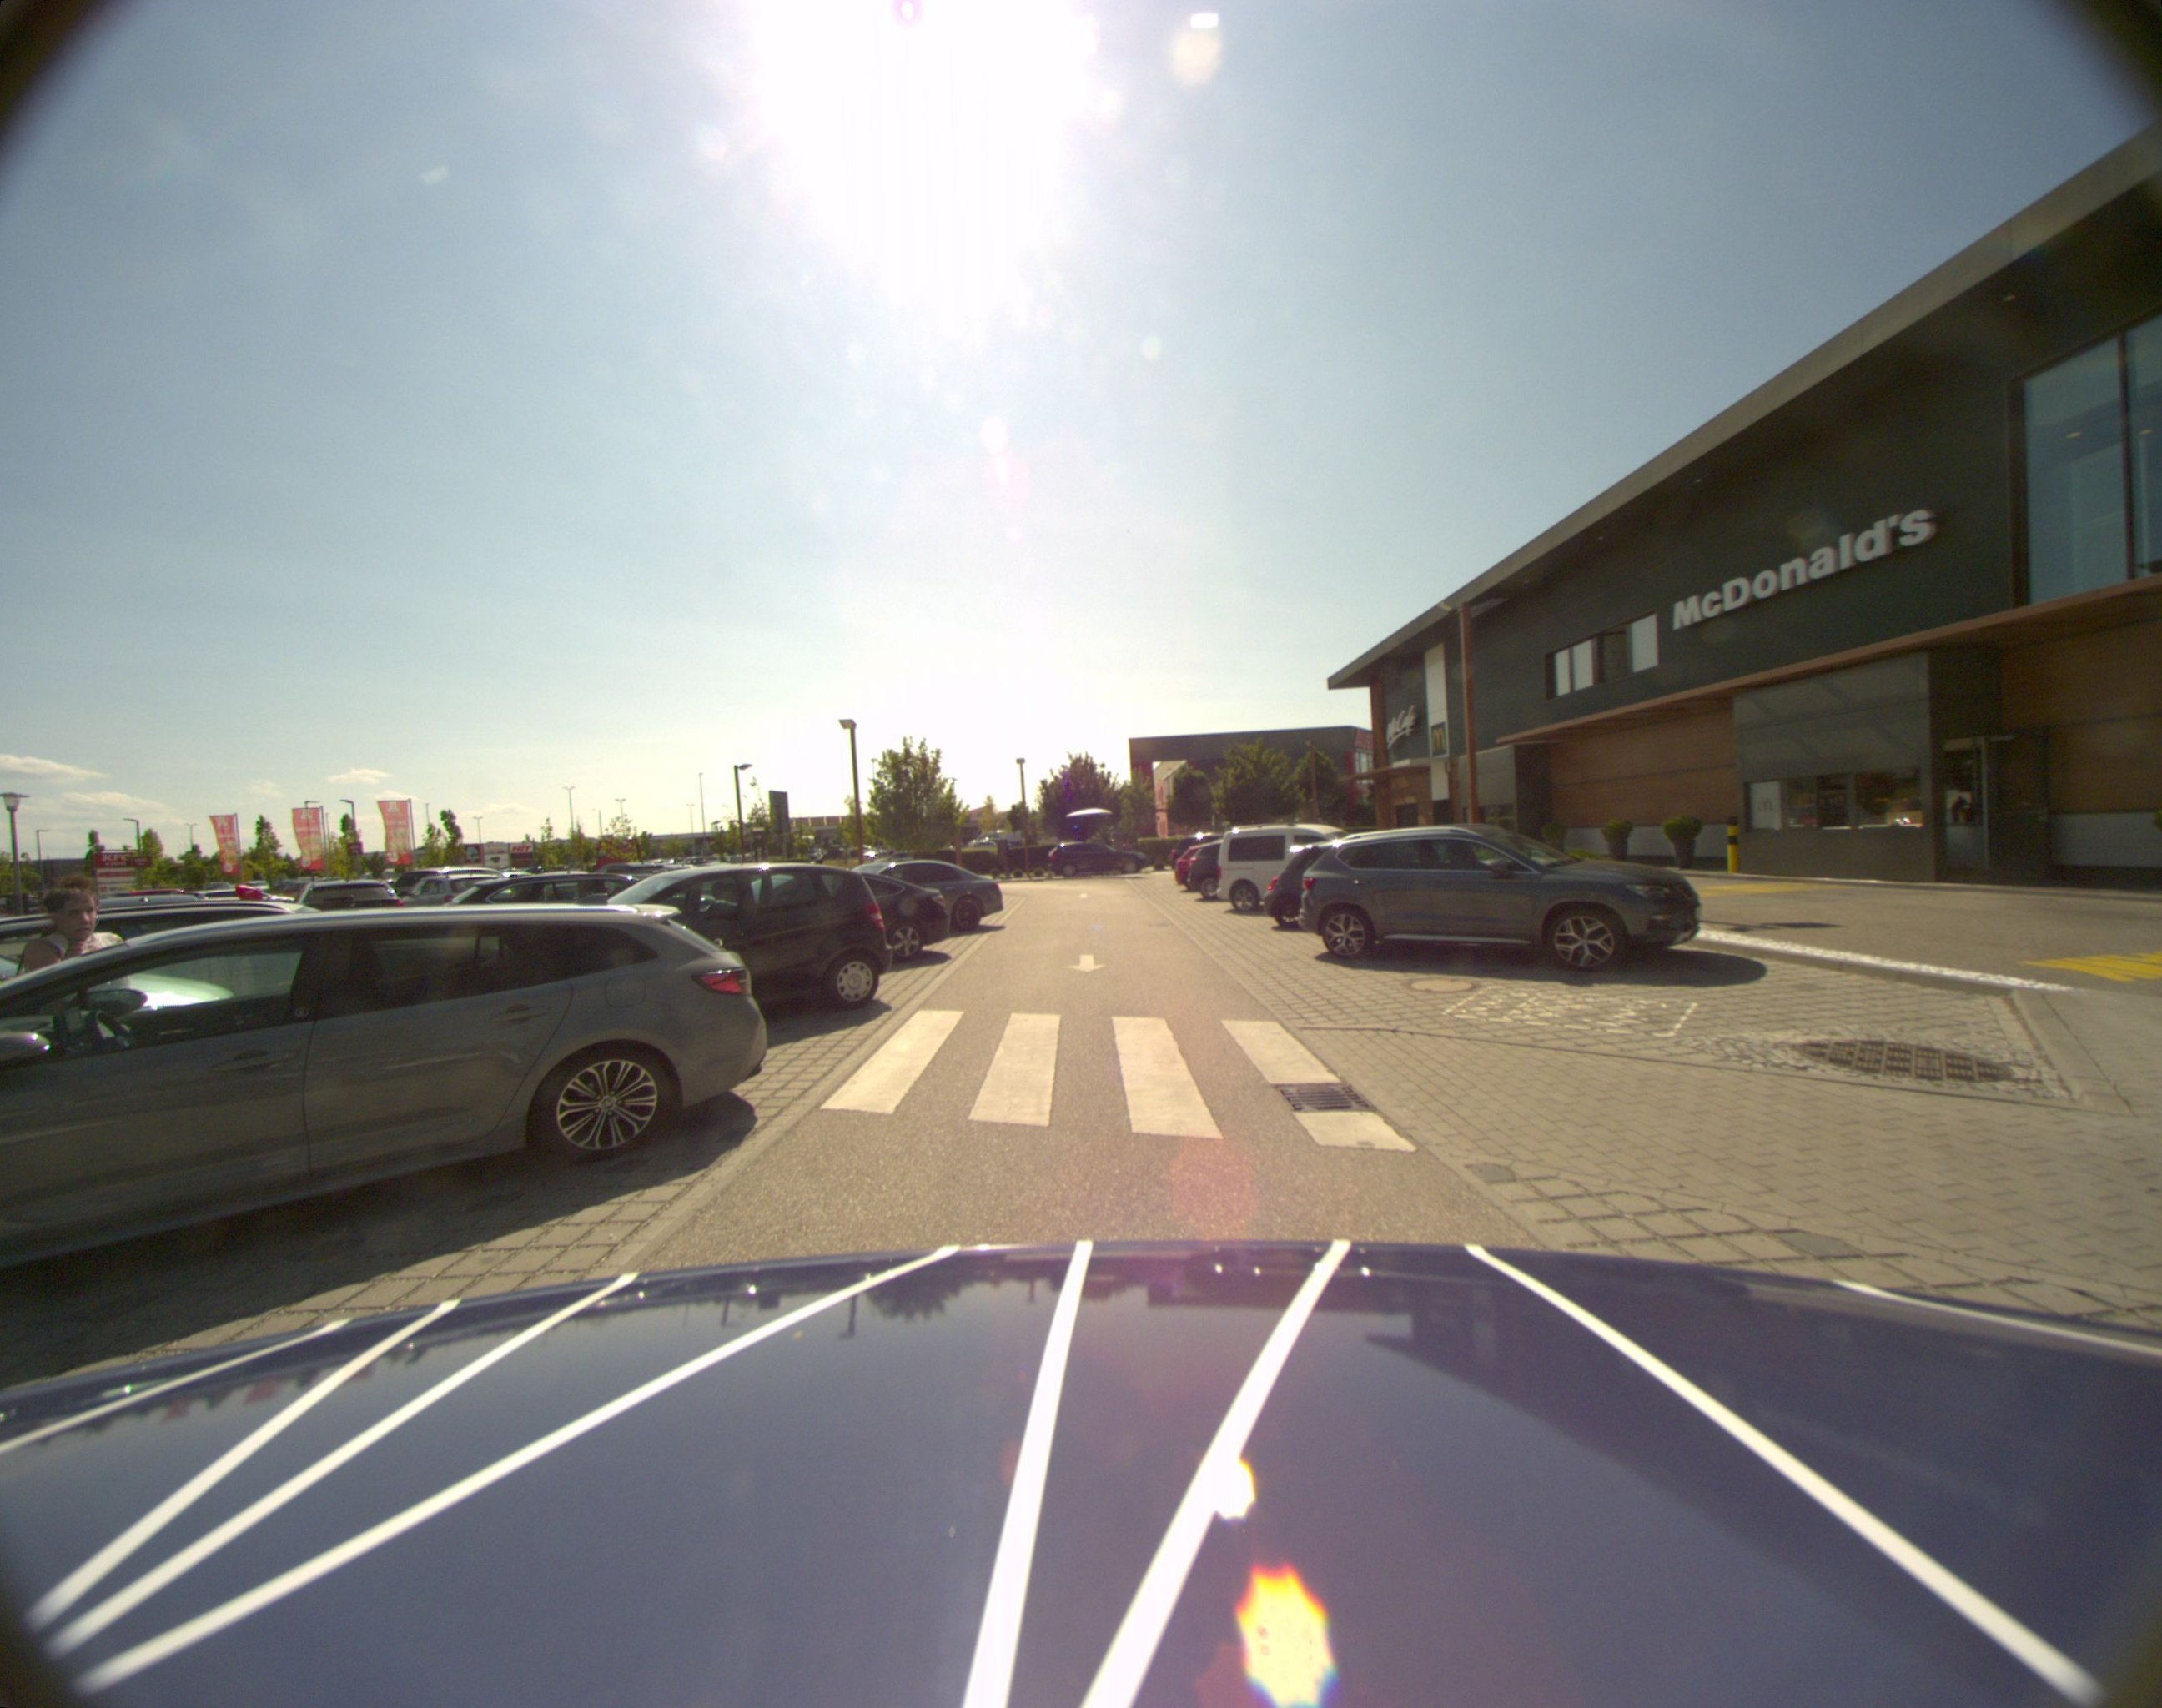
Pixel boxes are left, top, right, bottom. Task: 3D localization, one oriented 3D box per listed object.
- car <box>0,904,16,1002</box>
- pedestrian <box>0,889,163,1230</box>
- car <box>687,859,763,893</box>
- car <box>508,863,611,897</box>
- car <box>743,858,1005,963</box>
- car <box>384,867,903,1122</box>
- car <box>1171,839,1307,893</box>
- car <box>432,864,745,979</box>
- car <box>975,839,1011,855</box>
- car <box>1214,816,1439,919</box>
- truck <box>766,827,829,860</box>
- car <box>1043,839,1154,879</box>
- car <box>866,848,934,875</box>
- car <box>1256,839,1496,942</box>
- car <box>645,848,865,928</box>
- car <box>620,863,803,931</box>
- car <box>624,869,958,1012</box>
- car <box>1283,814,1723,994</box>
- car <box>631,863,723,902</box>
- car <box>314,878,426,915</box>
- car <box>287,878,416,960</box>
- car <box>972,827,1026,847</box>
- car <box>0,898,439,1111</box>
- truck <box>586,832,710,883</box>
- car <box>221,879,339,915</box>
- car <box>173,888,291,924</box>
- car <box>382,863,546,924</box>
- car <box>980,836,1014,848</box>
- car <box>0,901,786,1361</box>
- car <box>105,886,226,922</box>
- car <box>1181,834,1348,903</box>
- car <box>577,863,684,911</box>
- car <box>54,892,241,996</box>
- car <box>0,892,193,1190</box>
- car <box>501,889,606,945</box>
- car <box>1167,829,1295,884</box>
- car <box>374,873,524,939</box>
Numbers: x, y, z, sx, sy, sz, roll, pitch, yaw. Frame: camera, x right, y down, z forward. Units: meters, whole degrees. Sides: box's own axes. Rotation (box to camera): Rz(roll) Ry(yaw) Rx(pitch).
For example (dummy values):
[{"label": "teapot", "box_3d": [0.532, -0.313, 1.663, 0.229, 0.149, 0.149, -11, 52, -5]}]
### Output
[{"label": "car", "box_3d": [-16.721, 1.553, 10.481, 4.459, 1.463, 1.918, -2, 2, 40]}, {"label": "pedestrian", "box_3d": [-5.670, 1.073, 4.182, 0.564, 1.703, 0.609, -4, 2, -37]}, {"label": "car", "box_3d": [-16.702, 1.009, 35.587, 3.765, 1.414, 1.917, -2, 2, 44]}, {"label": "car", "box_3d": [-26.242, 1.268, 38.405, 1.886, 1.390, 4.156, -3, 1, 8]}, {"label": "car", "box_3d": [-3.922, 0.972, 14.946, 4.550, 1.502, 1.882, -4, 2, -44]}, {"label": "car", "box_3d": [-4.038, 1.051, 7.471, 4.007, 1.584, 1.807, -4, 2, -44]}, {"label": "car", "box_3d": [4.898, 0.372, 23.615, 3.763, 1.436, 1.677, -3, 1, 29]}, {"label": "car", "box_3d": [-8.839, 1.074, 13.906, 4.425, 1.502, 1.978, -4, 2, -44]}, {"label": "car", "box_3d": [-10.243, -0.827, 88.558, 3.998, 1.718, 1.893, -3, 1, -4]}, {"label": "car", "box_3d": [5.136, 0.277, 16.162, 4.133, 1.910, 1.761, -2, 2, 40]}, {"label": "truck", "box_3d": [-31.365, -1.138, 83.951, 7.545, 3.333, 2.426, -1, 2, 34]}, {"label": "car", "box_3d": [0.809, 0.223, 36.221, 5.061, 1.620, 1.924, -3, 1, -1]}, {"label": "car", "box_3d": [-14.876, 0.598, 62.775, 5.017, 2.002, 1.999, -3, 2, 2]}, {"label": "car", "box_3d": [4.916, 0.579, 12.806, 3.406, 1.473, 1.571, -2, 1, 38]}, {"label": "car", "box_3d": [-7.812, 0.733, 18.503, 4.425, 1.502, 1.978, -4, 2, -44]}, {"label": "car", "box_3d": [-9.581, 1.050, 19.882, 3.910, 1.418, 1.702, -4, 2, -42]}, {"label": "car", "box_3d": [-4.049, 1.074, 11.063, 4.083, 1.440, 1.824, -4, 2, -44]}, {"label": "car", "box_3d": [4.847, 0.547, 9.173, 1.793, 1.594, 4.217, -7, 2, -44]}, {"label": "car", "box_3d": [-16.829, 1.185, 31.567, 4.075, 1.414, 1.801, -2, 2, 38]}, {"label": "car", "box_3d": [-35.252, 2.082, 37.827, 1.685, 1.445, 3.756, -3, 1, 8]}, {"label": "car", "box_3d": [-16.286, 1.345, 17.006, 1.824, 1.481, 3.989, -4, 2, -44]}, {"label": "car", "box_3d": [-10.377, -2.134, 96.608, 6.567, 2.231, 2.300, -3, 2, 0]}, {"label": "car", "box_3d": [-8.612, 1.282, 6.859, 1.788, 1.400, 4.090, -1, 1, 44]}, {"label": "truck", "box_3d": [-36.786, 0.279, 64.643, 9.115, 3.845, 3.212, -2, 1, 12]}, {"label": "car", "box_3d": [-40.554, 2.166, 38.588, 1.685, 1.445, 3.756, -3, 1, 8]}, {"label": "car", "box_3d": [-44.659, 2.709, 40.086, 1.685, 1.445, 3.756, -3, 1, 8]}, {"label": "car", "box_3d": [-21.590, 1.322, 26.869, 2.071, 1.740, 4.366, -3, 1, 1]}, {"label": "car", "box_3d": [-10.351, -1.508, 93.585, 3.905, 1.335, 1.665, -3, 1, 0]}, {"label": "car", "box_3d": [-4.183, 1.131, 3.784, 4.672, 1.438, 1.831, -2, 0, -43]}, {"label": "car", "box_3d": [-49.205, 2.646, 40.946, 1.685, 1.503, 3.756, -3, 1, 8]}, {"label": "car", "box_3d": [4.802, 0.384, 20.013, 3.834, 1.623, 1.761, -2, 2, 34]}, {"label": "car", "box_3d": [-16.621, 1.193, 28.008, 4.044, 1.547, 1.810, -2, 2, 35]}, {"label": "car", "box_3d": [-16.381, 1.460, 13.491, 3.989, 1.395, 1.824, -2, 2, 41]}, {"label": "car", "box_3d": [-7.877, 1.182, 3.911, 4.075, 1.630, 1.743, -3, 1, -44]}, {"label": "car", "box_3d": [-16.635, 1.898, 23.860, 4.669, 1.403, 1.715, -2, 2, 43]}, {"label": "car", "box_3d": [5.242, 0.107, 26.736, 4.028, 1.696, 1.678, -3, 2, 34]}, {"label": "car", "box_3d": [-17.261, 1.378, 20.717, 4.341, 1.503, 1.782, -2, 2, 32]}]
